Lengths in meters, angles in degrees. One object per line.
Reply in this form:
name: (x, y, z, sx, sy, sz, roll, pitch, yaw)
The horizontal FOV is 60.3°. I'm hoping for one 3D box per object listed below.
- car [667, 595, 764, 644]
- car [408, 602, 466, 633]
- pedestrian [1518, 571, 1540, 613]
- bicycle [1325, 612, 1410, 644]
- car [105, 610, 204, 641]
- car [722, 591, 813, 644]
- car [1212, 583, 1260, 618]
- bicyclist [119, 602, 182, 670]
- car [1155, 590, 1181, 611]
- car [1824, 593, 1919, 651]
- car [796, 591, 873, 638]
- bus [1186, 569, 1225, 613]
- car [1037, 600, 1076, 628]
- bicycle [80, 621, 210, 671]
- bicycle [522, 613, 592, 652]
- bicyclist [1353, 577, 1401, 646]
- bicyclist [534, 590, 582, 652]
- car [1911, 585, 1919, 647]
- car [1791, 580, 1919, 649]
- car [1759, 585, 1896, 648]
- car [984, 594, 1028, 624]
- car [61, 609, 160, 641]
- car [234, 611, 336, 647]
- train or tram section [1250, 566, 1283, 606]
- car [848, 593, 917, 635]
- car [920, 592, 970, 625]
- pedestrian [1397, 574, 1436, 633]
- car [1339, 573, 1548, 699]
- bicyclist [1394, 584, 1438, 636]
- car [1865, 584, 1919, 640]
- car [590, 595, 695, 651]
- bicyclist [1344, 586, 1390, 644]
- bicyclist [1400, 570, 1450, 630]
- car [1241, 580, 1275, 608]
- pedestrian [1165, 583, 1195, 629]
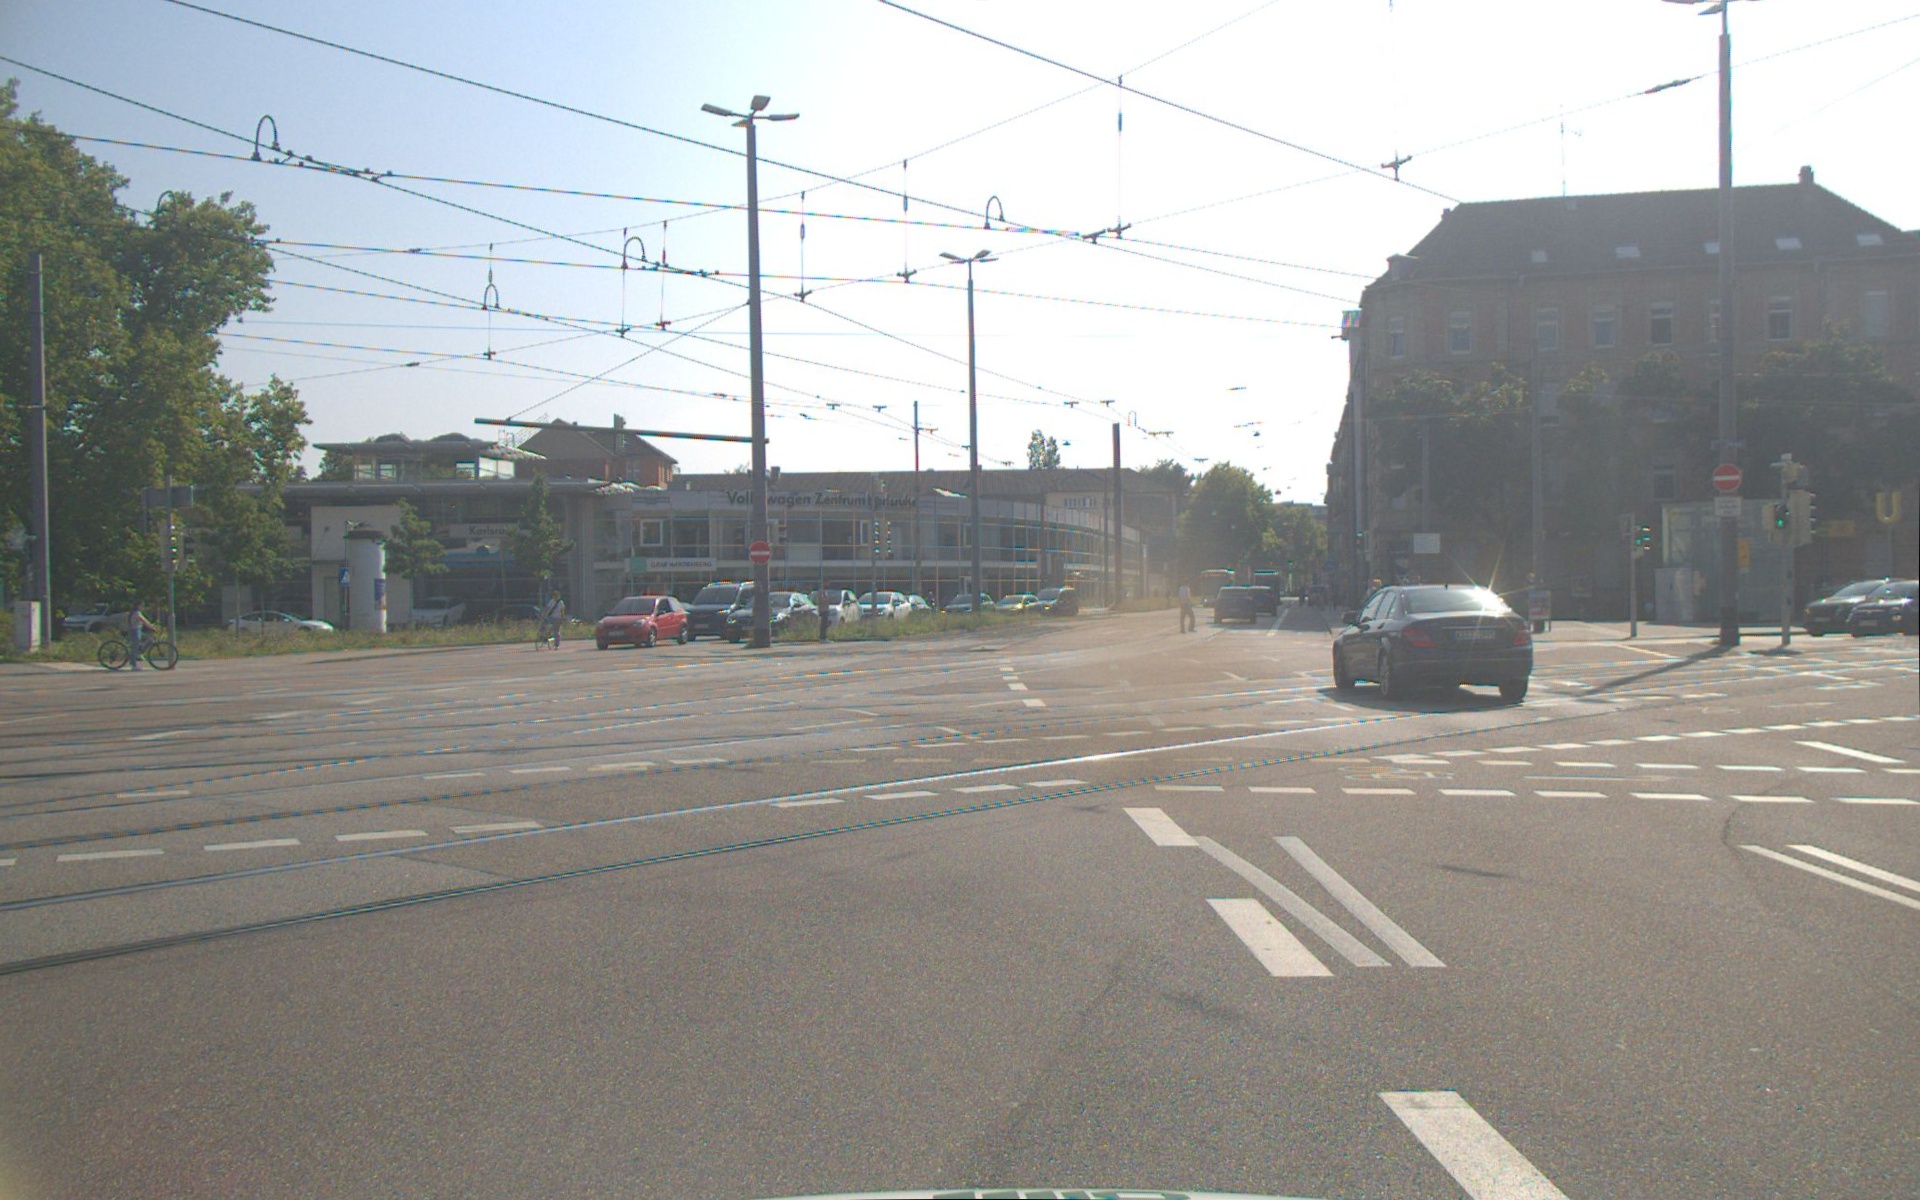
car: (-8.174, 0.638, 55.613, 1.918, 1.501, 4.003, -3, 0, 11)
car: (-27.290, 0.891, 86.397, 1.664, 1.549, 4.100, 0, 0, 1)
pedestrian: (20.506, -0.278, 59.601, 0.537, 1.496, 0.664, -1, 0, 42)
bicycle: (13.102, 0.891, 53.186, 2.588, 0.981, 1.083, -1, 0, -28)
car: (-41.822, 1.305, 85.990, 1.667, 1.549, 4.509, -1, 0, 27)
car: (-5.856, 0.517, 50.763, 1.580, 1.501, 4.003, -3, 0, 11)
car: (11.985, -0.011, 71.731, 1.786, 1.453, 4.416, -1, 0, 12)
bicyclist: (-18.976, 0.843, 38.784, 1.144, 1.554, 0.956, 1, -1, -18)
car: (15.979, 0.007, 126.988, 1.580, 1.501, 4.003, -3, 0, 12)
car: (24.790, 0.536, 43.239, 4.330, 1.421, 2.002, 0, 0, -32)
car: (-4.289, 0.490, 57.274, 1.580, 1.501, 4.003, -3, 0, 11)
bus: (21.868, -0.748, 146.487, 2.858, 3.682, 16.761, 0, 0, 10)
car: (5.567, 0.797, 95.074, 1.580, 1.501, 4.003, -3, 0, 12)
bicycle: (-19.062, 1.073, 38.751, 2.559, 1.075, 0.956, 2, -1, -18)
bicycle: (-11.819, 0.945, 48.607, 0.937, 1.075, 2.610, 0, 0, 12)
bicyclist: (12.813, 0.346, 50.865, 0.928, 2.059, 1.077, -1, 0, -41)
bicyclist: (-11.818, 0.615, 48.617, 0.937, 1.779, 1.167, 0, 0, 12)
car: (31.339, 0.469, 50.544, 4.644, 1.891, 1.891, 0, 0, -30)
car: (25.994, 0.389, 47.502, 4.195, 1.891, 1.889, 0, 0, -32)
car: (27.250, 0.505, 51.934, 4.218, 1.891, 1.935, 0, 0, -32)
car: (2.499, 0.480, 88.898, 1.580, 1.501, 4.003, -3, 0, 12)
car: (-44.375, 1.286, 86.498, 1.667, 1.549, 4.509, -1, 0, 27)
car: (-30.992, 1.324, 76.015, 4.001, 1.549, 1.705, 0, 0, 1)
train or tram section: (29.569, -1.352, 159.784, 2.598, 3.763, 10.598, -1, 0, 8)
car: (-2.929, 0.508, 62.980, 1.580, 1.501, 4.003, -3, 0, 12)
car: (-0.712, 0.404, 81.651, 1.580, 1.501, 4.003, -3, 0, 12)
pedestrian: (14.414, 0.115, 52.221, 0.921, 1.828, 0.846, -1, 0, -45)
car: (6.208, 0.416, 21.717, 1.647, 1.468, 4.374, -1, 0, 3)
bicyclist: (15.097, 0.333, 54.806, 0.923, 1.709, 1.083, -1, 0, -27)
car: (33.926, 0.406, 57.656, 4.197, 1.891, 1.920, 0, 0, -21)
car: (-9.243, 0.655, 48.423, 1.580, 1.501, 4.003, -3, 0, 11)
bicyclist: (13.084, 0.462, 53.176, 0.923, 1.831, 1.083, -1, 0, -27)
bicyclist: (13.839, -0.005, 49.229, 0.928, 1.738, 1.077, -1, 0, -41)
car: (16.398, -0.329, 91.003, 1.786, 1.453, 4.416, -1, 0, 11)
pedestrian: (7.390, 0.191, 55.509, 0.766, 1.529, 0.706, -1, 0, -20)
